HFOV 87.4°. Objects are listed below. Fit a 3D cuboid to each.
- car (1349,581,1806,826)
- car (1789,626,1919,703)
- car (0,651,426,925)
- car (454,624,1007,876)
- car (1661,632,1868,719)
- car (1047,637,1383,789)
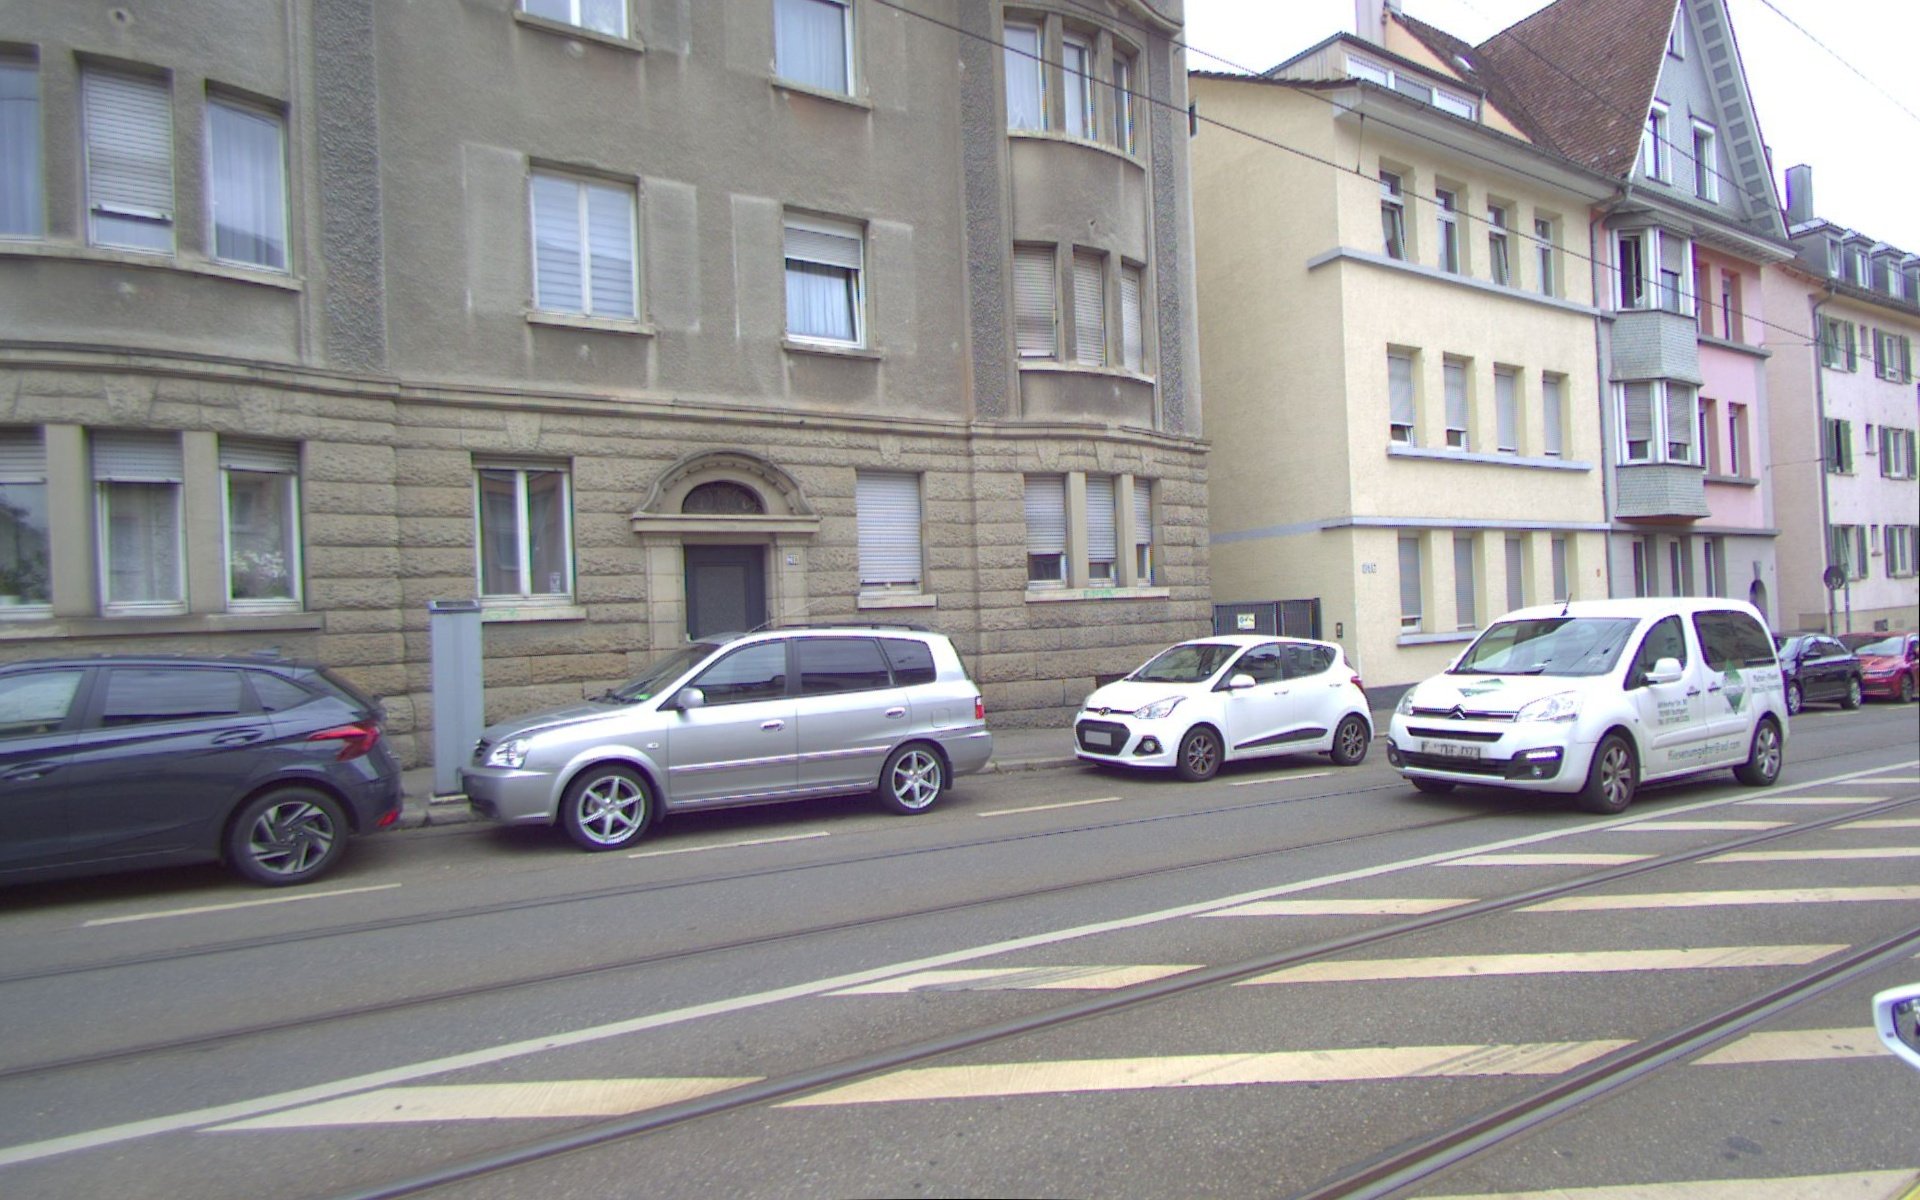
[{"bbox_3d":[5.869,0.830,9.470,4.167,1.842,1.912,0,-2,-30],"label":"car"},{"bbox_3d":[19.645,1.353,21.579,4.002,1.509,1.612,1,-3,-32],"label":"car"},{"bbox_3d":[-5.630,1.079,6.237,3.988,1.482,1.612,1,-3,-32],"label":"car"},{"bbox_3d":[-1.833,1.069,8.538,4.302,1.625,1.612,0,-3,-32],"label":"car"},{"bbox_3d":[15.066,1.342,18.780,3.953,1.428,1.728,0,-2,-31],"label":"car"},{"bbox_3d":[2.946,1.187,11.493,3.642,1.482,1.613,1,-3,-30],"label":"car"}]
